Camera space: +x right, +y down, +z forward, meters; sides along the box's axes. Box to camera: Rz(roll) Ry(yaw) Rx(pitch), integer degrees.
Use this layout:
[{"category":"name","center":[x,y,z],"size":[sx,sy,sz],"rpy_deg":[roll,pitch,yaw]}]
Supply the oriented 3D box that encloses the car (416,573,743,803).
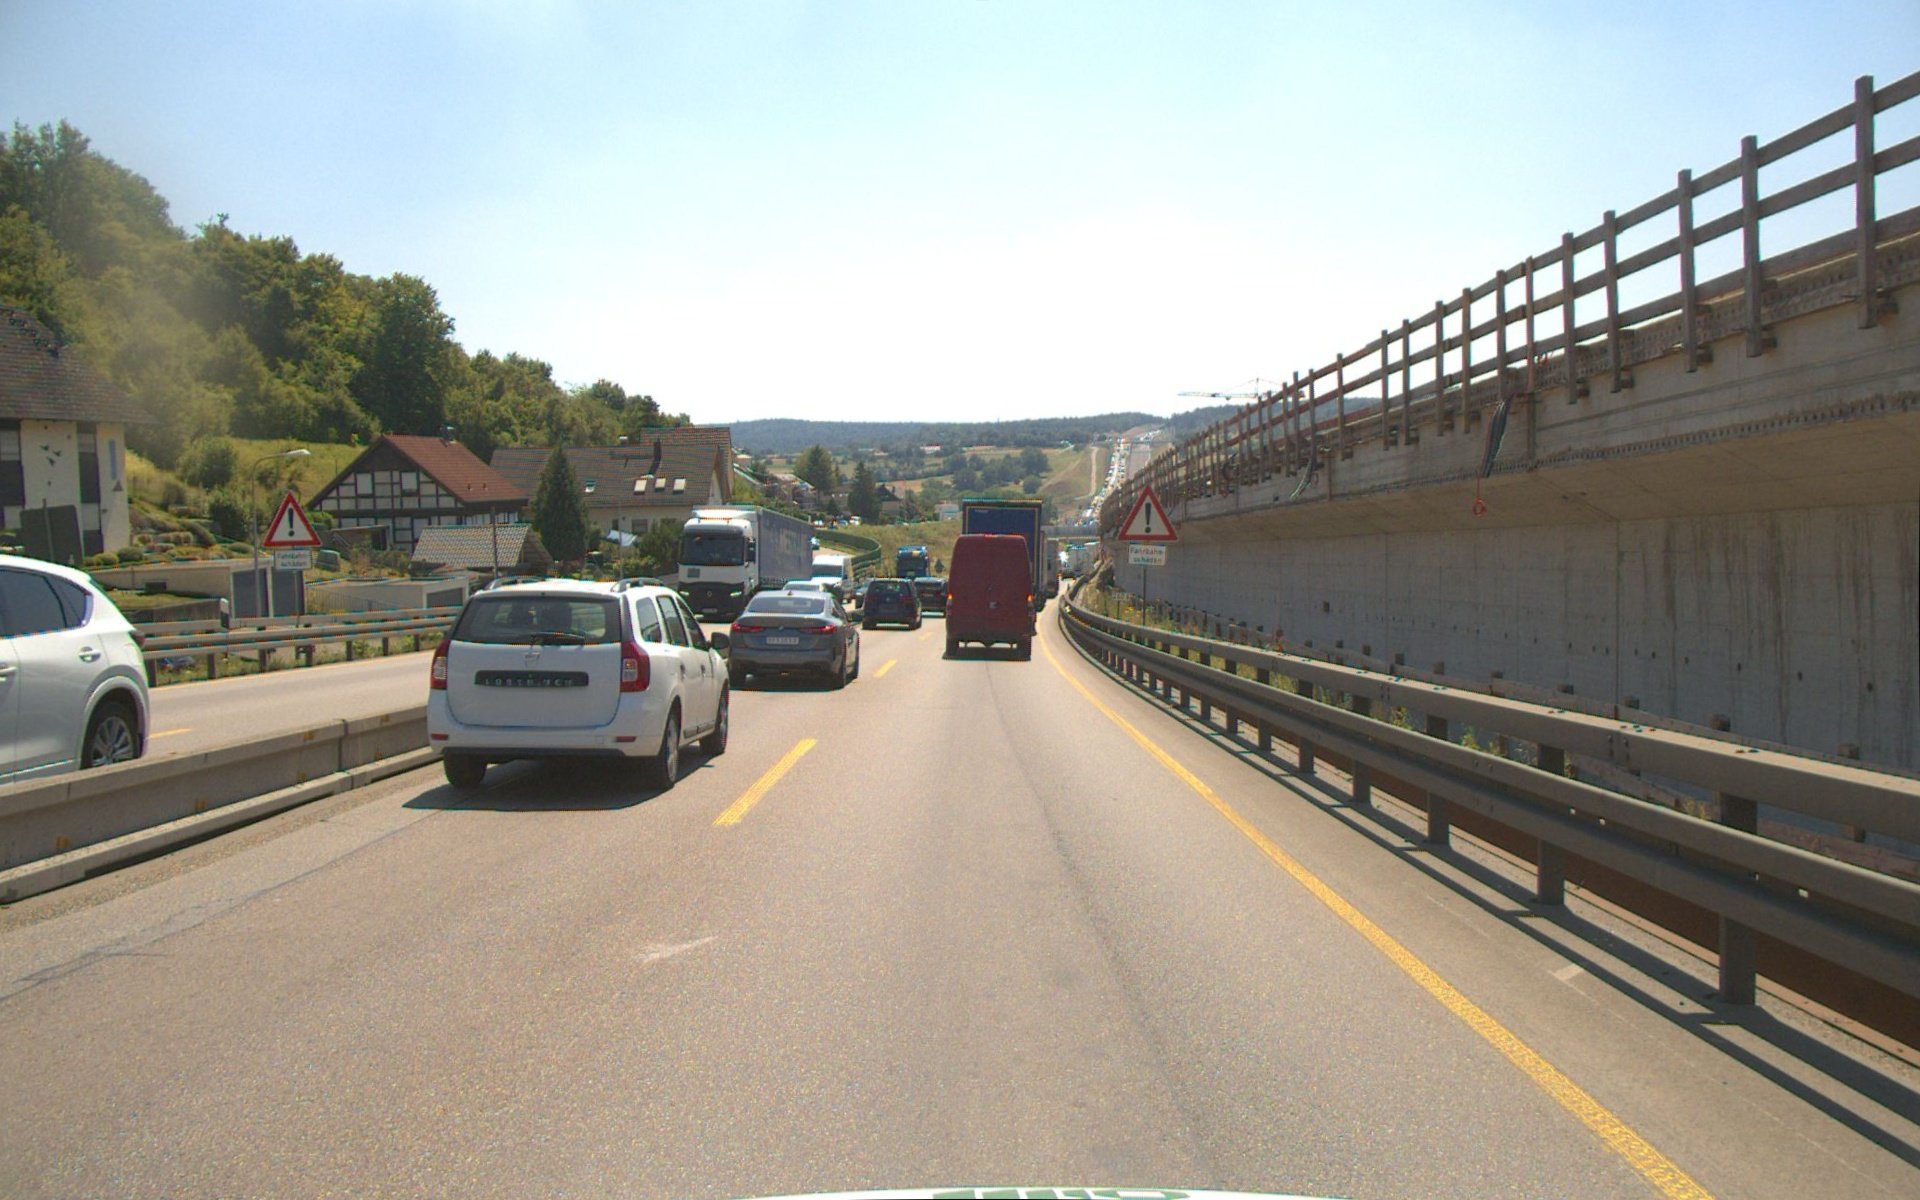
[{"category":"car","center":[-2.872,0.611,13.411],"size":[1.618,1.509,4.266],"rpy_deg":[-2,0,0]}]

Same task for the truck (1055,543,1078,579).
[{"category":"truck","center":[13.996,-5.117,217.217],"size":[3.004,4.458,8.561],"rpy_deg":[0,-1,4]}]

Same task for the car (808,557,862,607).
[{"category":"car","center":[-6.862,-1.009,91.373],"size":[1.963,2.649,5.984],"rpy_deg":[0,1,6]}]

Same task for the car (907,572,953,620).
[{"category":"car","center":[-1.197,-0.135,66.968],"size":[1.693,1.870,4.000],"rpy_deg":[0,-1,1]}]

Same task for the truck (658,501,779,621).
[{"category":"truck","center":[-8.753,-1.404,60.741],"size":[3.070,4.151,6.882],"rpy_deg":[0,1,3]}]

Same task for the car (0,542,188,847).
[{"category":"car","center":[-6.257,0.528,9.373],"size":[1.714,1.716,4.386],"rpy_deg":[0,-1,0]}]

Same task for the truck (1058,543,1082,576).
[{"category":"truck","center":[15.906,-5.753,238.818],"size":[3.394,4.458,8.561],"rpy_deg":[0,-1,4]}]

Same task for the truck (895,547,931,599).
[{"category":"truck","center":[-3.786,-2.107,133.553],"size":[2.456,4.034,5.177],"rpy_deg":[0,-1,3]}]

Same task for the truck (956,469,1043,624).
[{"category":"truck","center":[1.496,-1.650,57.204],"size":[2.728,4.900,9.688],"rpy_deg":[0,-1,3]}]

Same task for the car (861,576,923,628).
[{"category":"car","center":[-2.214,0.091,54.549],"size":[1.772,1.636,3.719],"rpy_deg":[0,-1,1]}]

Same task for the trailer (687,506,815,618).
[{"category":"trailer","center":[-8.323,-1.498,67.716],"size":[3.069,4.150,11.824],"rpy_deg":[0,1,3]}]

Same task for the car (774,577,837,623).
[{"category":"car","center":[-5.388,-0.030,58.197],"size":[1.636,1.562,4.192],"rpy_deg":[0,1,3]}]

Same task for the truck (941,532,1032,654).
[{"category":"truck","center":[0.602,-0.128,37.799],"size":[1.952,2.624,4.000],"rpy_deg":[0,-1,1]}]

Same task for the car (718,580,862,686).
[{"category":"car","center":[-2.565,0.476,25.838],"size":[1.757,1.511,4.050],"rpy_deg":[0,0,1]}]

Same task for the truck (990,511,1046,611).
[{"category":"truck","center":[3.142,-1.916,86.675],"size":[2.728,4.900,9.688],"rpy_deg":[0,-1,3]}]

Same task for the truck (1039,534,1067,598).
[{"category":"truck","center":[6.658,-2.369,118.272],"size":[1.951,4.458,4.002],"rpy_deg":[0,-1,4]}]
